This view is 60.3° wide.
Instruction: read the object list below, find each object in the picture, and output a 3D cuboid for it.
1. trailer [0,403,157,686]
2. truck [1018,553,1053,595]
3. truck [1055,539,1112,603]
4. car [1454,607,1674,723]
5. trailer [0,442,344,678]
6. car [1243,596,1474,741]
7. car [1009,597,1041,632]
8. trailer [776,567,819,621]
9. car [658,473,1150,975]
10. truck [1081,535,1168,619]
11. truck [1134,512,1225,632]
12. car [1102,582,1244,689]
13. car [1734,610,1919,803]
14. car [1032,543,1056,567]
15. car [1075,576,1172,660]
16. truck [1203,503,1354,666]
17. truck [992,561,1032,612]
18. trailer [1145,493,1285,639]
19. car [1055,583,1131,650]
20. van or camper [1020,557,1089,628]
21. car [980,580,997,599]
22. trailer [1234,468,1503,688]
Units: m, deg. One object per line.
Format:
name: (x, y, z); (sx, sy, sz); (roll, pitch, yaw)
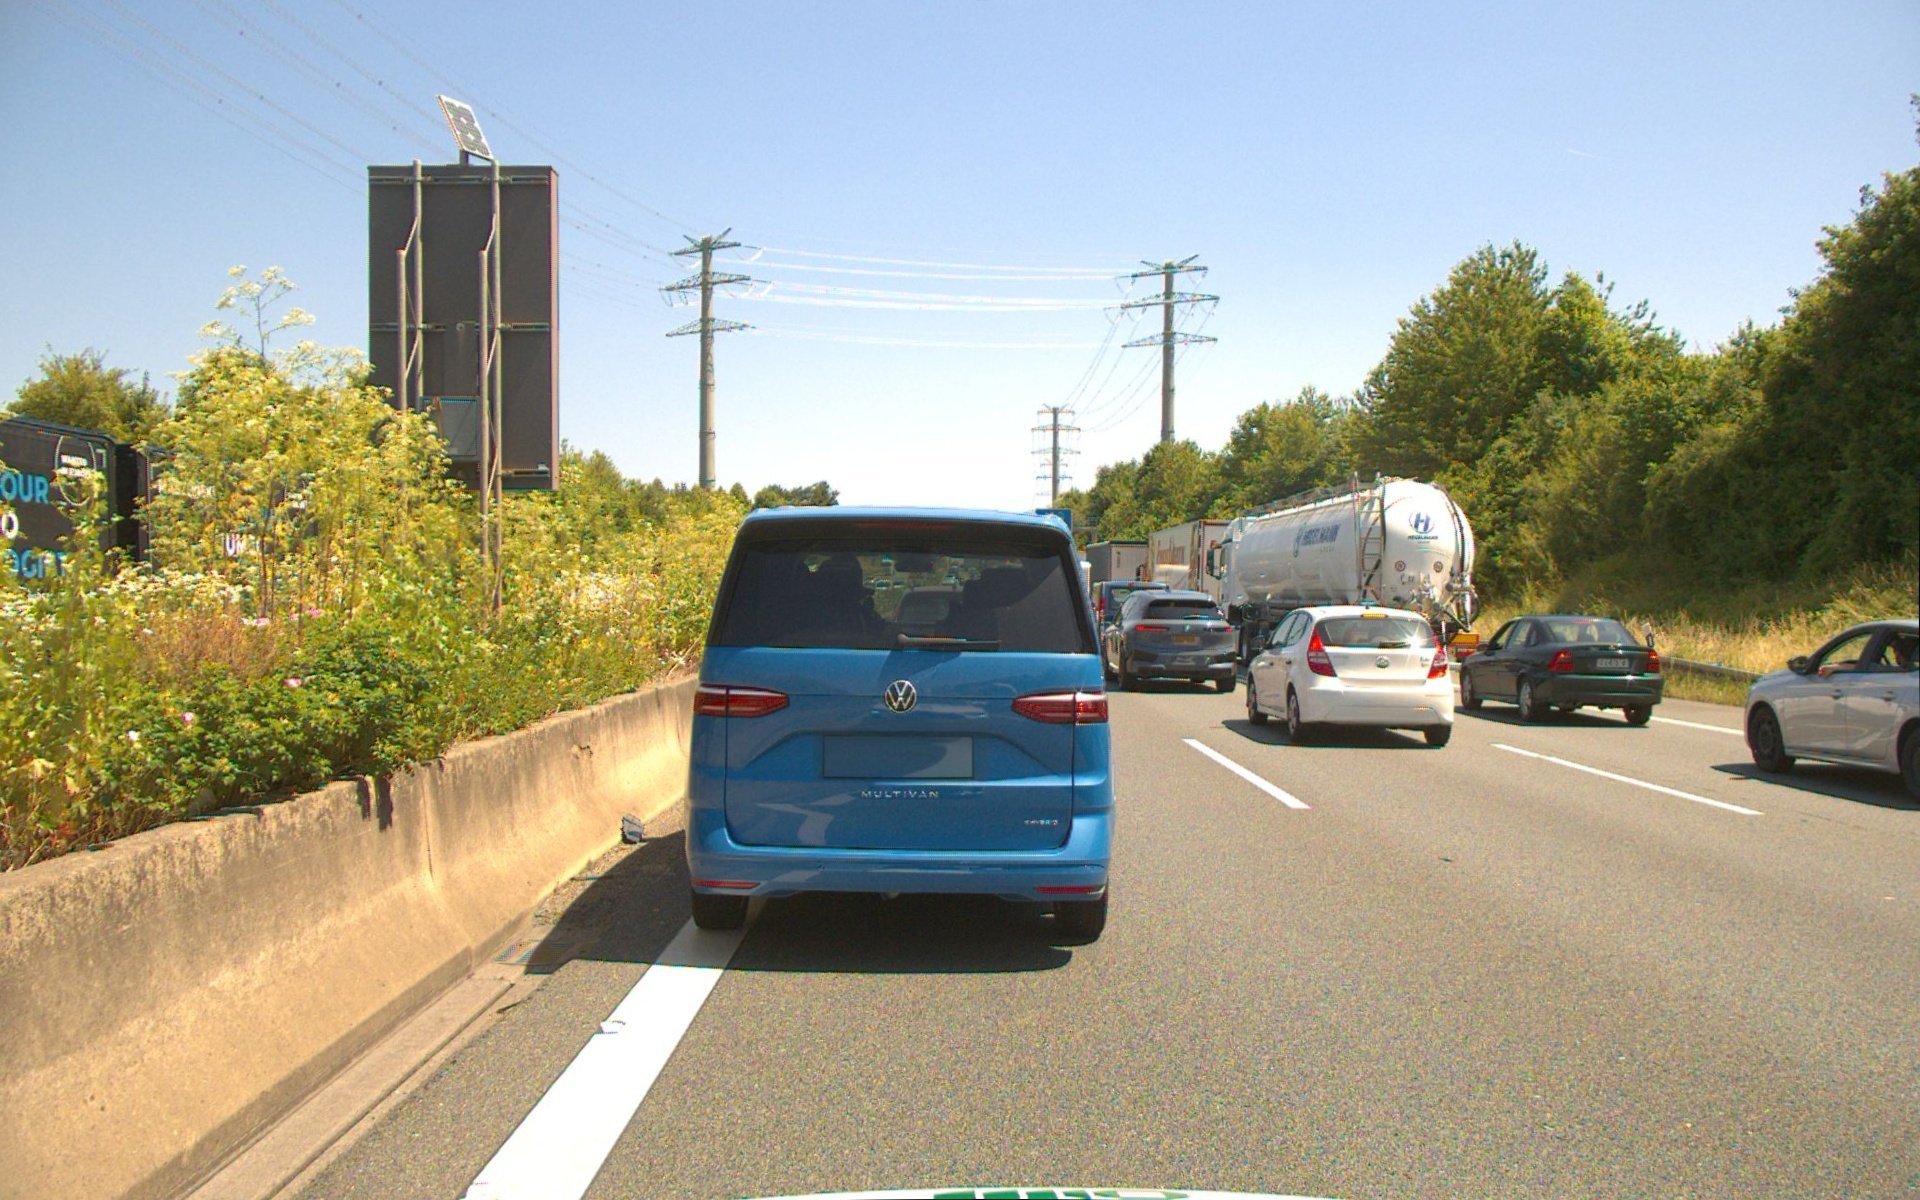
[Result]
trailer: (-14.536, -0.752, 22.924); (3.061, 3.825, 7.868); (0, 0, -1)
truck: (8.747, -2.990, 193.724); (3.494, 4.596, 10.291); (0, 0, -1)
truck: (7.929, -1.768, 108.029); (2.836, 3.832, 13.344); (0, 0, 0)
car: (8.291, 0.856, 23.060); (1.607, 1.441, 3.988); (-1, -1, 0)
trailer: (-14.609, -0.655, 31.007); (3.118, 3.827, 8.199); (0, 0, -1)
car: (4.518, 0.744, 19.338); (1.779, 1.511, 4.000); (0, -1, 1)
car: (3.834, 0.862, 98.392); (1.798, 2.033, 4.000); (-1, -1, 1)
trailer: (-15.944, -0.579, 163.005); (3.254, 5.136, 9.590); (0, 0, 0)
car: (-0.226, 0.479, 8.475); (1.881, 1.919, 4.000); (1, 0, 0)
truck: (8.068, -1.013, 83.392); (2.944, 3.832, 15.712); (0, 0, 0)
truck: (8.591, -1.062, 65.249); (2.853, 4.547, 5.141); (0, 0, -1)
car: (3.694, 0.615, 29.512); (1.958, 1.745, 4.625); (0, -1, 0)
car: (8.419, 0.859, 14.135); (1.695, 1.468, 4.028); (0, 1, -1)
car: (7.628, -4.067, 149.931); (1.953, 2.049, 4.000); (0, 0, 0)
car: (4.053, 0.462, 41.682); (1.884, 1.959, 4.234); (-1, -1, -2)
truck: (8.064, -0.379, 42.582); (2.736, 3.903, 5.571); (0, 0, -1)
truck: (4.027, -1.007, 129.248); (2.836, 3.832, 10.140); (0, 0, 0)
trailer: (8.694, -1.064, 57.958); (2.853, 4.547, 12.151); (0, 0, -1)
car: (4.055, 0.520, 51.065); (1.884, 1.959, 4.234); (-1, -1, -2)
van or camper: (4.244, -0.312, 75.499); (2.896, 3.075, 7.103); (0, 0, 1)
car: (3.353, -1.191, 194.411); (1.953, 2.163, 3.999); (0, 0, -1)
trailer: (8.199, -0.386, 35.107); (2.705, 3.912, 11.484); (0, 0, -1)
